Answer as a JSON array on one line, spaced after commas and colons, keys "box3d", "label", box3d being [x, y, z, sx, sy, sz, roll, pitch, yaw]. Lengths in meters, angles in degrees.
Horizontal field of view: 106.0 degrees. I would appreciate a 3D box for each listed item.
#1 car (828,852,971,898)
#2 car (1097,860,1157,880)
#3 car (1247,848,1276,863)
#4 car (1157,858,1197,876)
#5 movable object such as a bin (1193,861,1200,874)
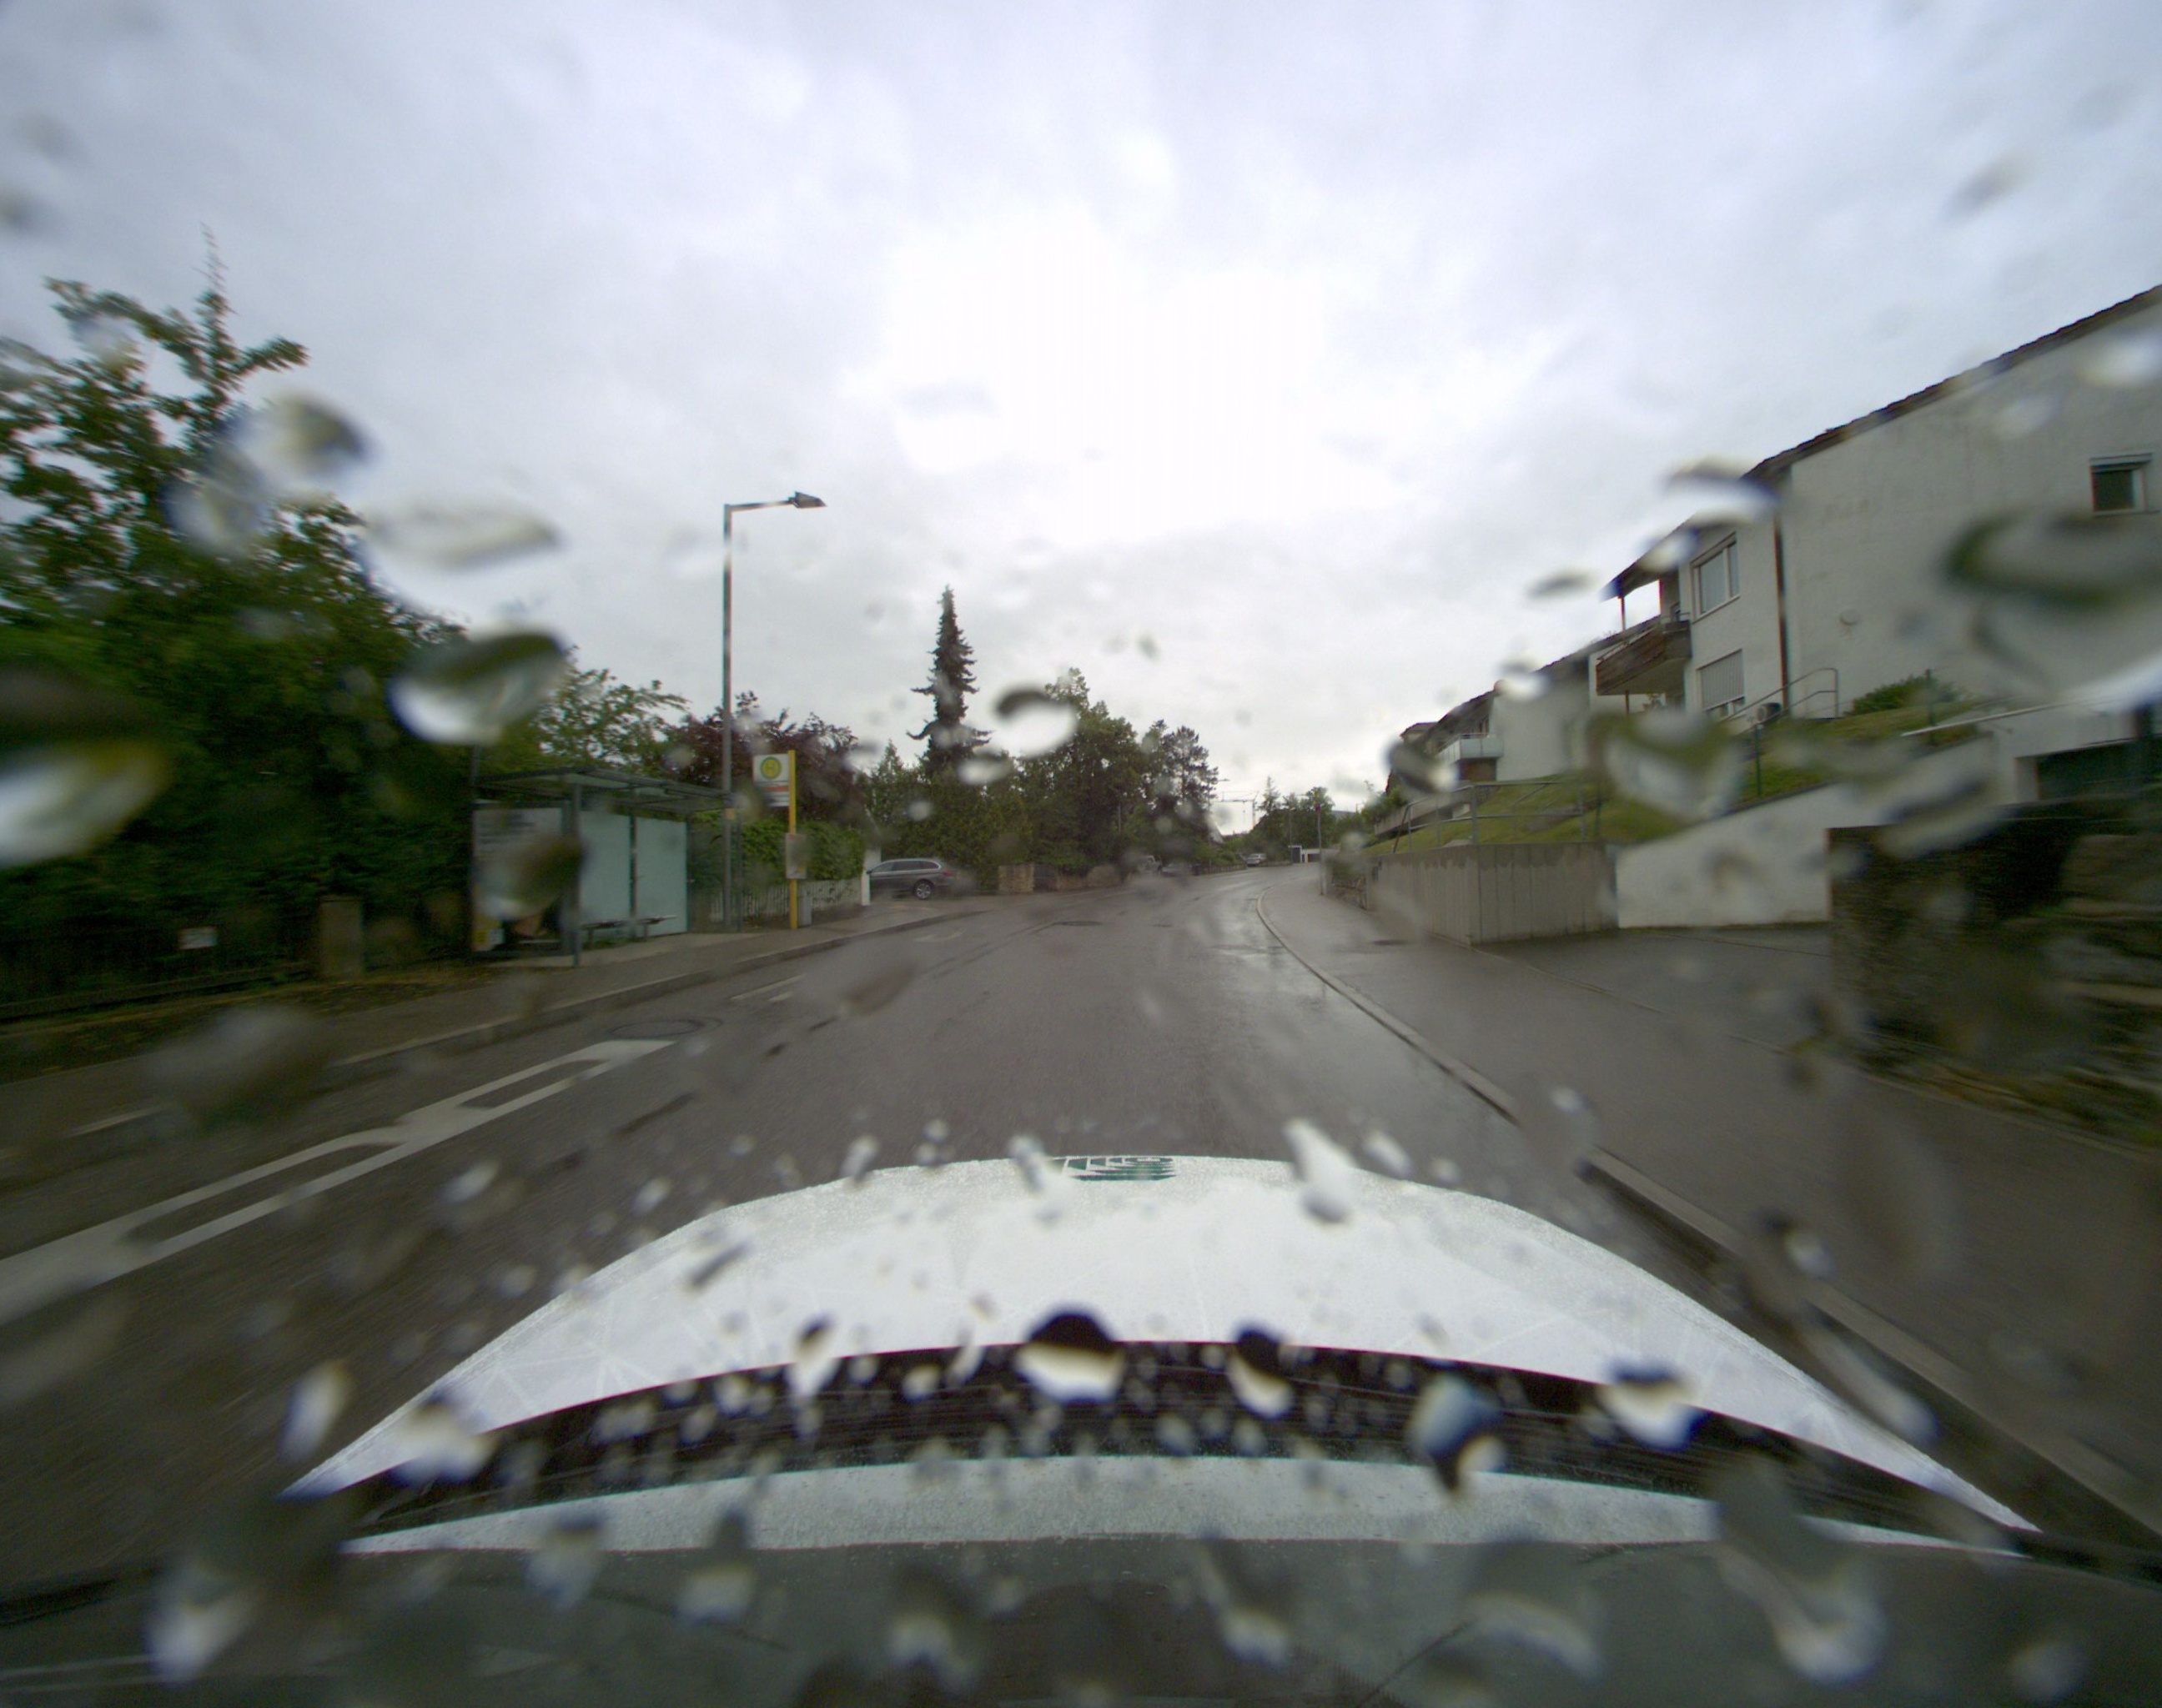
[{"box3d": [-6.331, 0.721, 28.729, 4.519, 1.476, 1.842, -1, 0, 4], "label": "car"}, {"box3d": [3.359, 1.169, 59.395, 3.949, 1.271, 1.885, -2, 0, 27], "label": "car"}, {"box3d": [20.786, 0.192, 93.592, 1.717, 1.551, 4.026, -3, -1, 36], "label": "car"}, {"box3d": [8.001, 1.031, 67.541, 1.975, 1.307, 4.459, -3, -1, 24], "label": "car"}, {"box3d": [9.400, 1.082, 66.190, 0.367, 0.988, 0.561, -3, -1, 21], "label": "movable object such as a bin"}]
